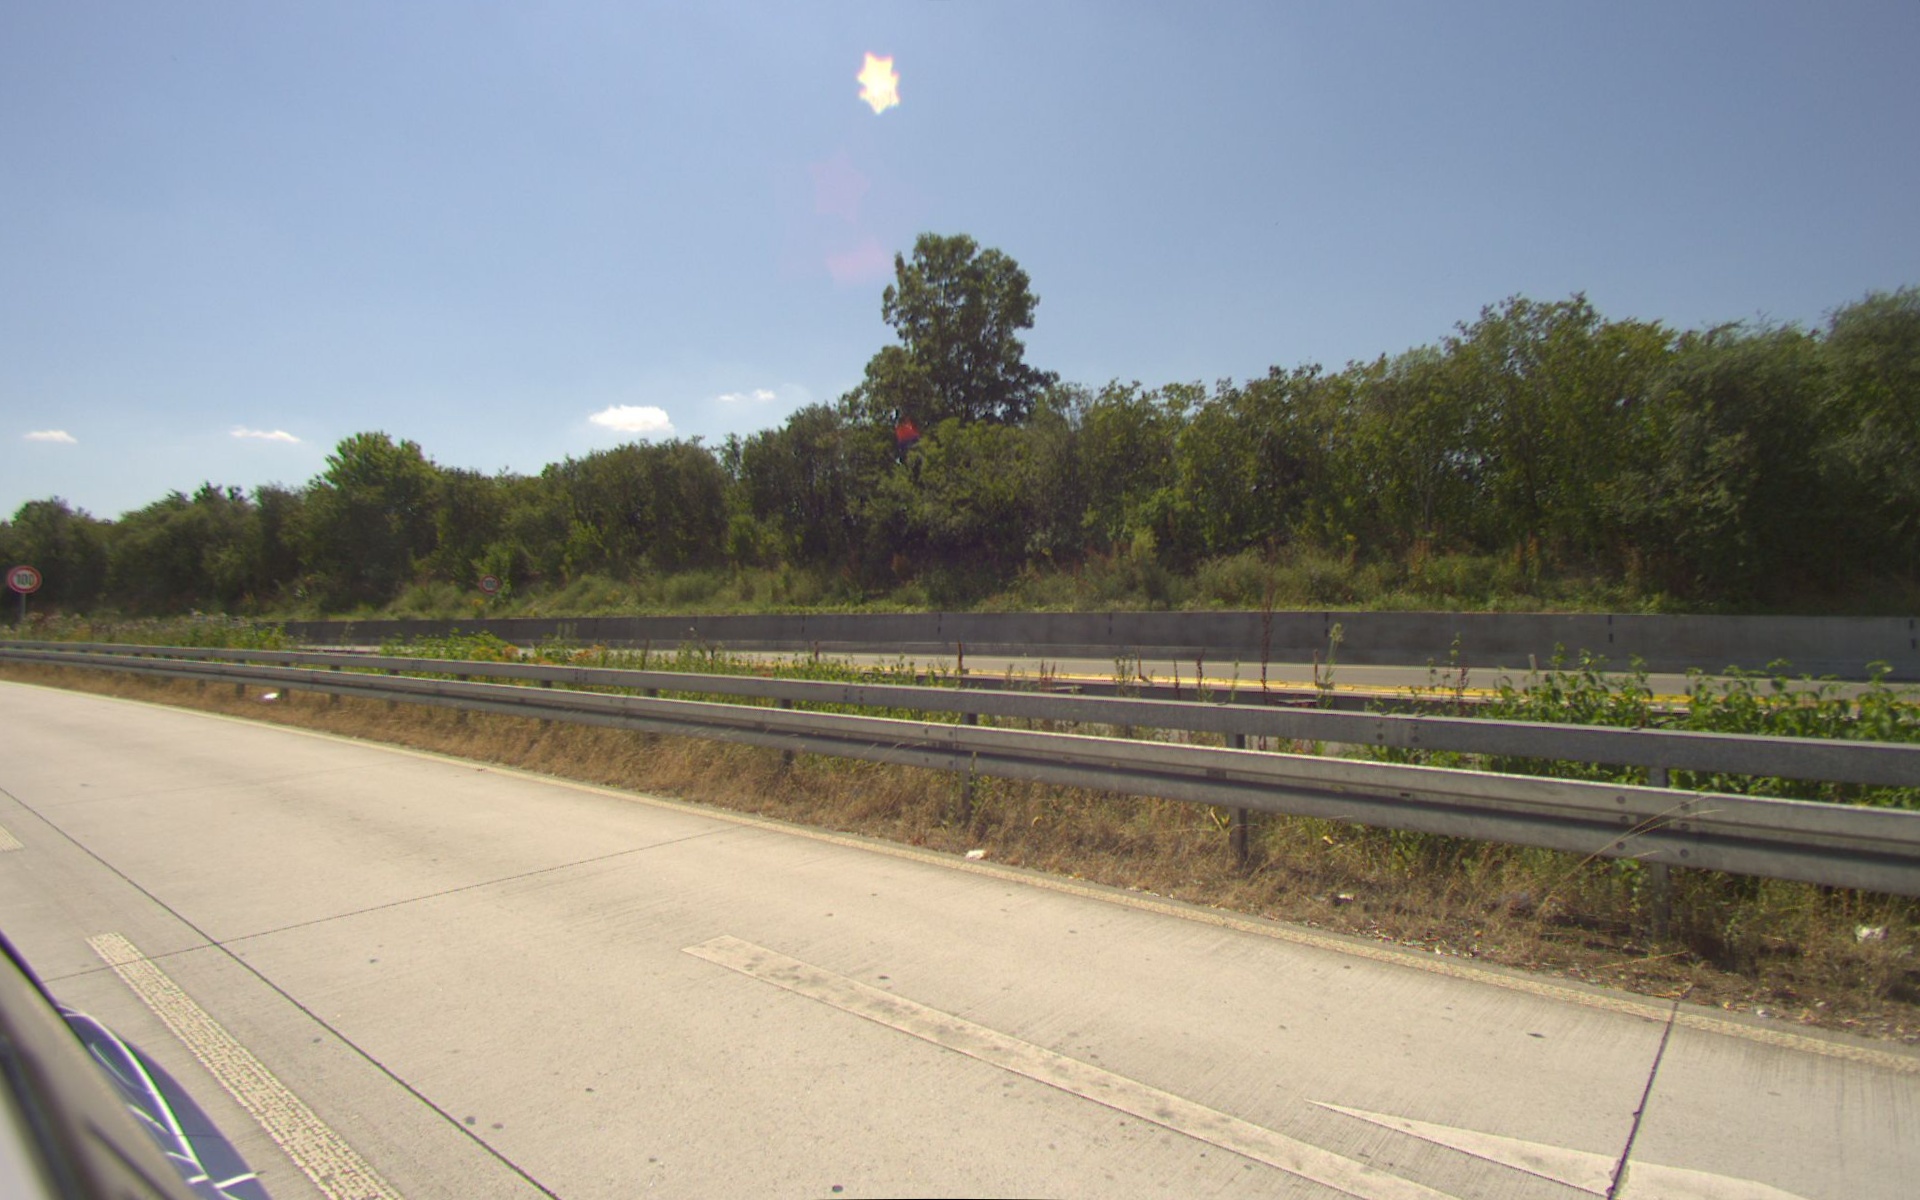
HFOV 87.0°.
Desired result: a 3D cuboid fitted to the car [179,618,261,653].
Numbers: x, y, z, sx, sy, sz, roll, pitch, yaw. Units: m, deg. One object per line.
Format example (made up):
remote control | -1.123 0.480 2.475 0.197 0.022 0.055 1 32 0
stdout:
car | -33.884 1.593 46.318 4.282 1.496 1.697 -1 0 34
